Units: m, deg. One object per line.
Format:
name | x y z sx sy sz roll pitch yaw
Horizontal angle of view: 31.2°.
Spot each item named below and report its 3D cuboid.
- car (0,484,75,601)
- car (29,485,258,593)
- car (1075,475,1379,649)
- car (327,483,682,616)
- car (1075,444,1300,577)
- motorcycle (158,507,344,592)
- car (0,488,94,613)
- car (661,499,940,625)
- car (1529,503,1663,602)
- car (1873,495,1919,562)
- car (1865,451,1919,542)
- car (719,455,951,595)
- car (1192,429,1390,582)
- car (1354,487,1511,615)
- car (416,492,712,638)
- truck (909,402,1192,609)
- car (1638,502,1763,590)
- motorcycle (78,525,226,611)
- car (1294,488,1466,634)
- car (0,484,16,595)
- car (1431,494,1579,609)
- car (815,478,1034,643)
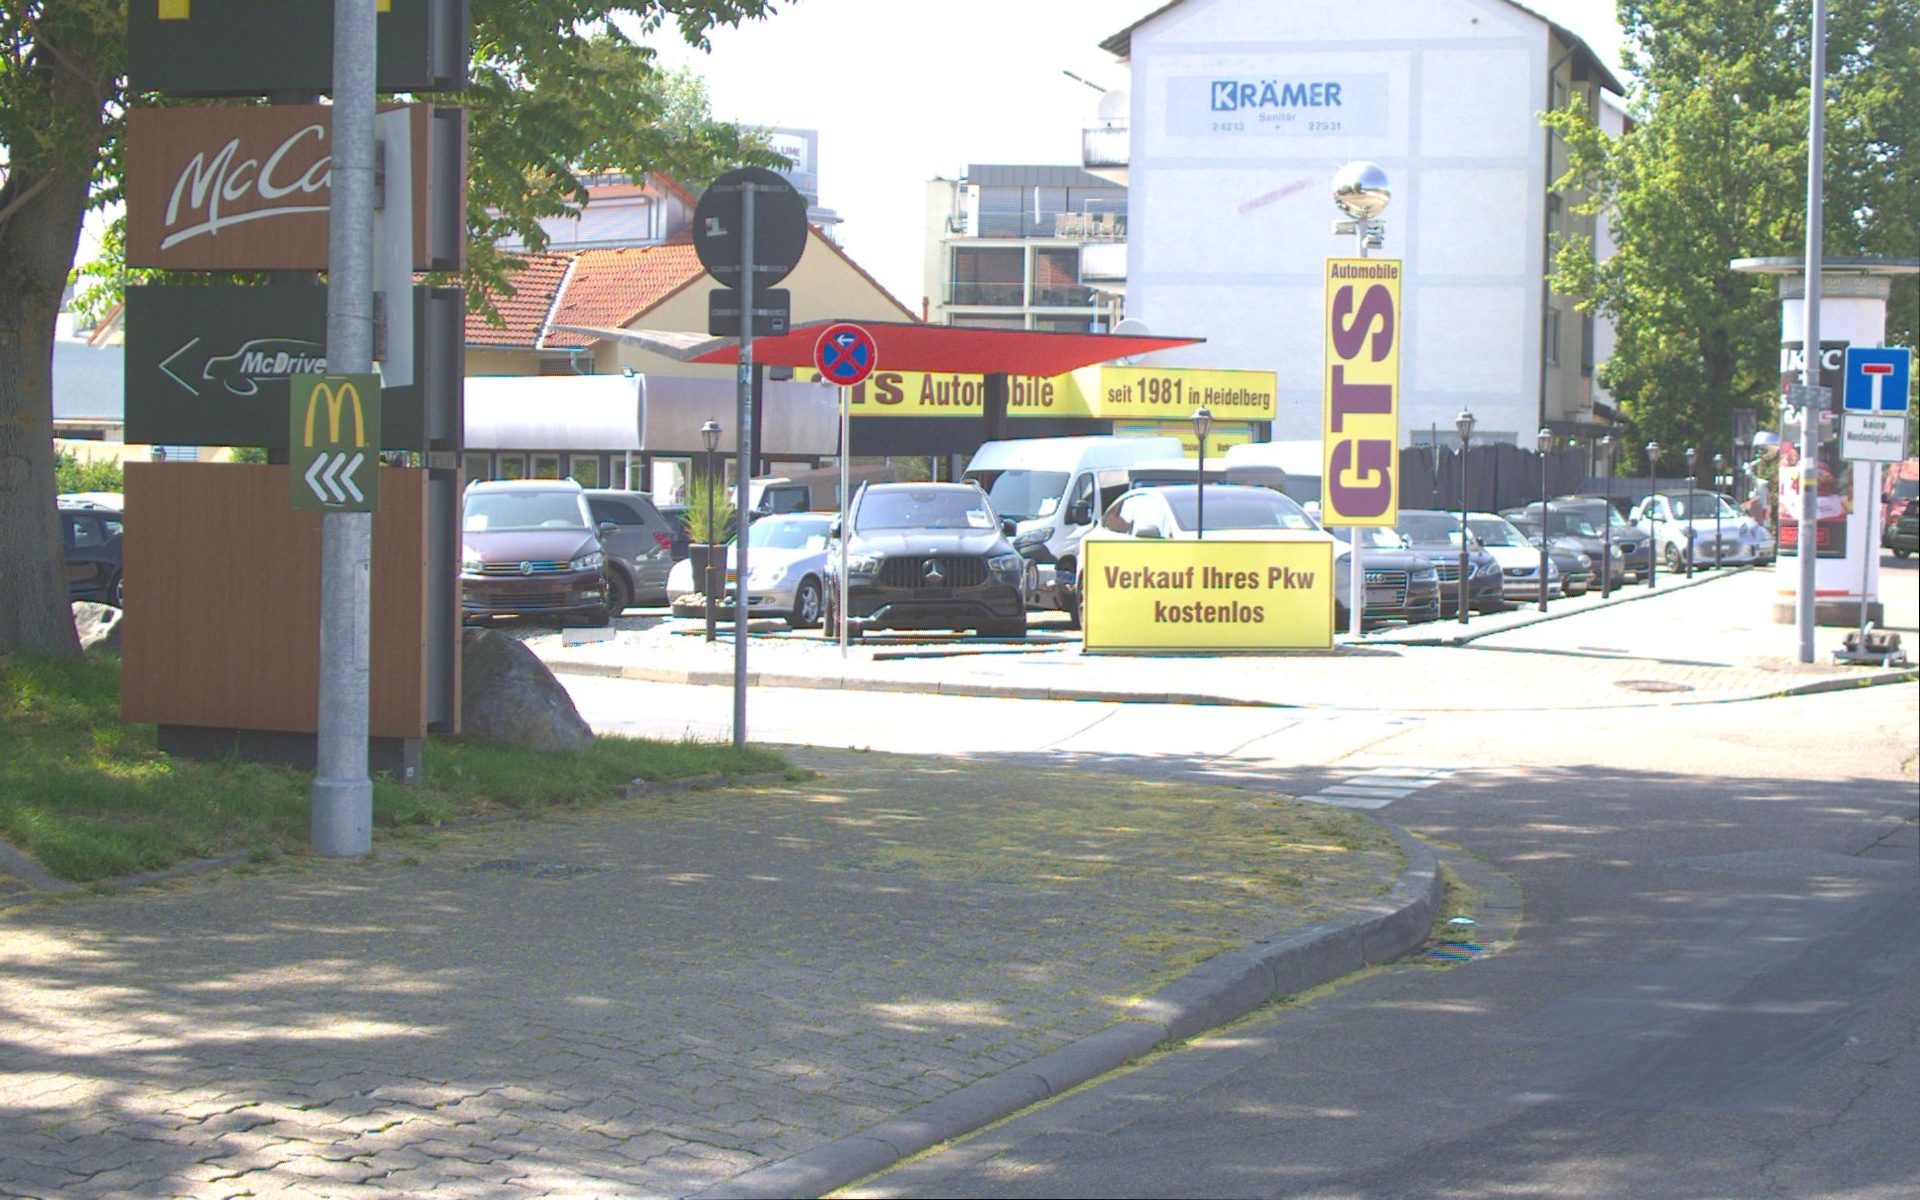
car | -15.408 -0.898 50.886 1.998 1.719 3.990 3 1 41
car | -13.266 -1.001 55.722 1.994 1.579 3.999 1 2 -40
car | 2.819 -0.452 37.250 1.993 1.719 4.002 2 1 -15
car | -6.048 -0.669 45.570 4.319 1.579 2.001 2 1 -18
car | 3.308 -1.275 49.017 1.879 1.732 4.718 3 2 20
motorcycle | -10.840 -0.761 52.644 0.998 1.222 2.712 3 2 41
car | -14.339 -0.732 47.715 3.989 1.700 1.999 1 2 -42
car | -2.004 -0.489 44.306 1.791 1.482 3.994 3 2 27
car | 11.166 -0.865 60.559 1.857 1.623 4.000 2 2 4
car | 24.887 -1.746 86.426 3.269 1.631 1.727 2 1 -22
car | 27.919 -2.958 100.124 2.540 2.511 5.113 3 1 19
car | -1.866 -1.143 52.980 1.995 2.007 4.491 3 1 19
car | 5.316 -1.507 54.709 2.137 2.276 4.707 2 2 18
car | 6.429 -0.708 47.109 1.857 1.623 4.000 2 2 4
car | -4.417 -0.404 38.947 1.790 1.504 3.997 3 1 18
truck | 1.469 -1.428 52.411 2.271 2.893 5.936 3 2 22
car | 14.577 -1.093 67.869 1.857 1.623 4.000 2 2 4
motorcycle | -11.558 -0.456 49.189 1.868 1.154 0.790 1 1 -30
car | 5.032 -0.515 41.634 1.857 1.623 4.000 2 2 4
car | -17.038 -1.002 52.542 1.998 1.719 4.643 3 1 41
car | 8.262 -0.771 52.398 1.857 1.623 4.000 2 2 4
car | -0.447 -0.453 36.686 2.046 1.589 4.424 2 1 -4
